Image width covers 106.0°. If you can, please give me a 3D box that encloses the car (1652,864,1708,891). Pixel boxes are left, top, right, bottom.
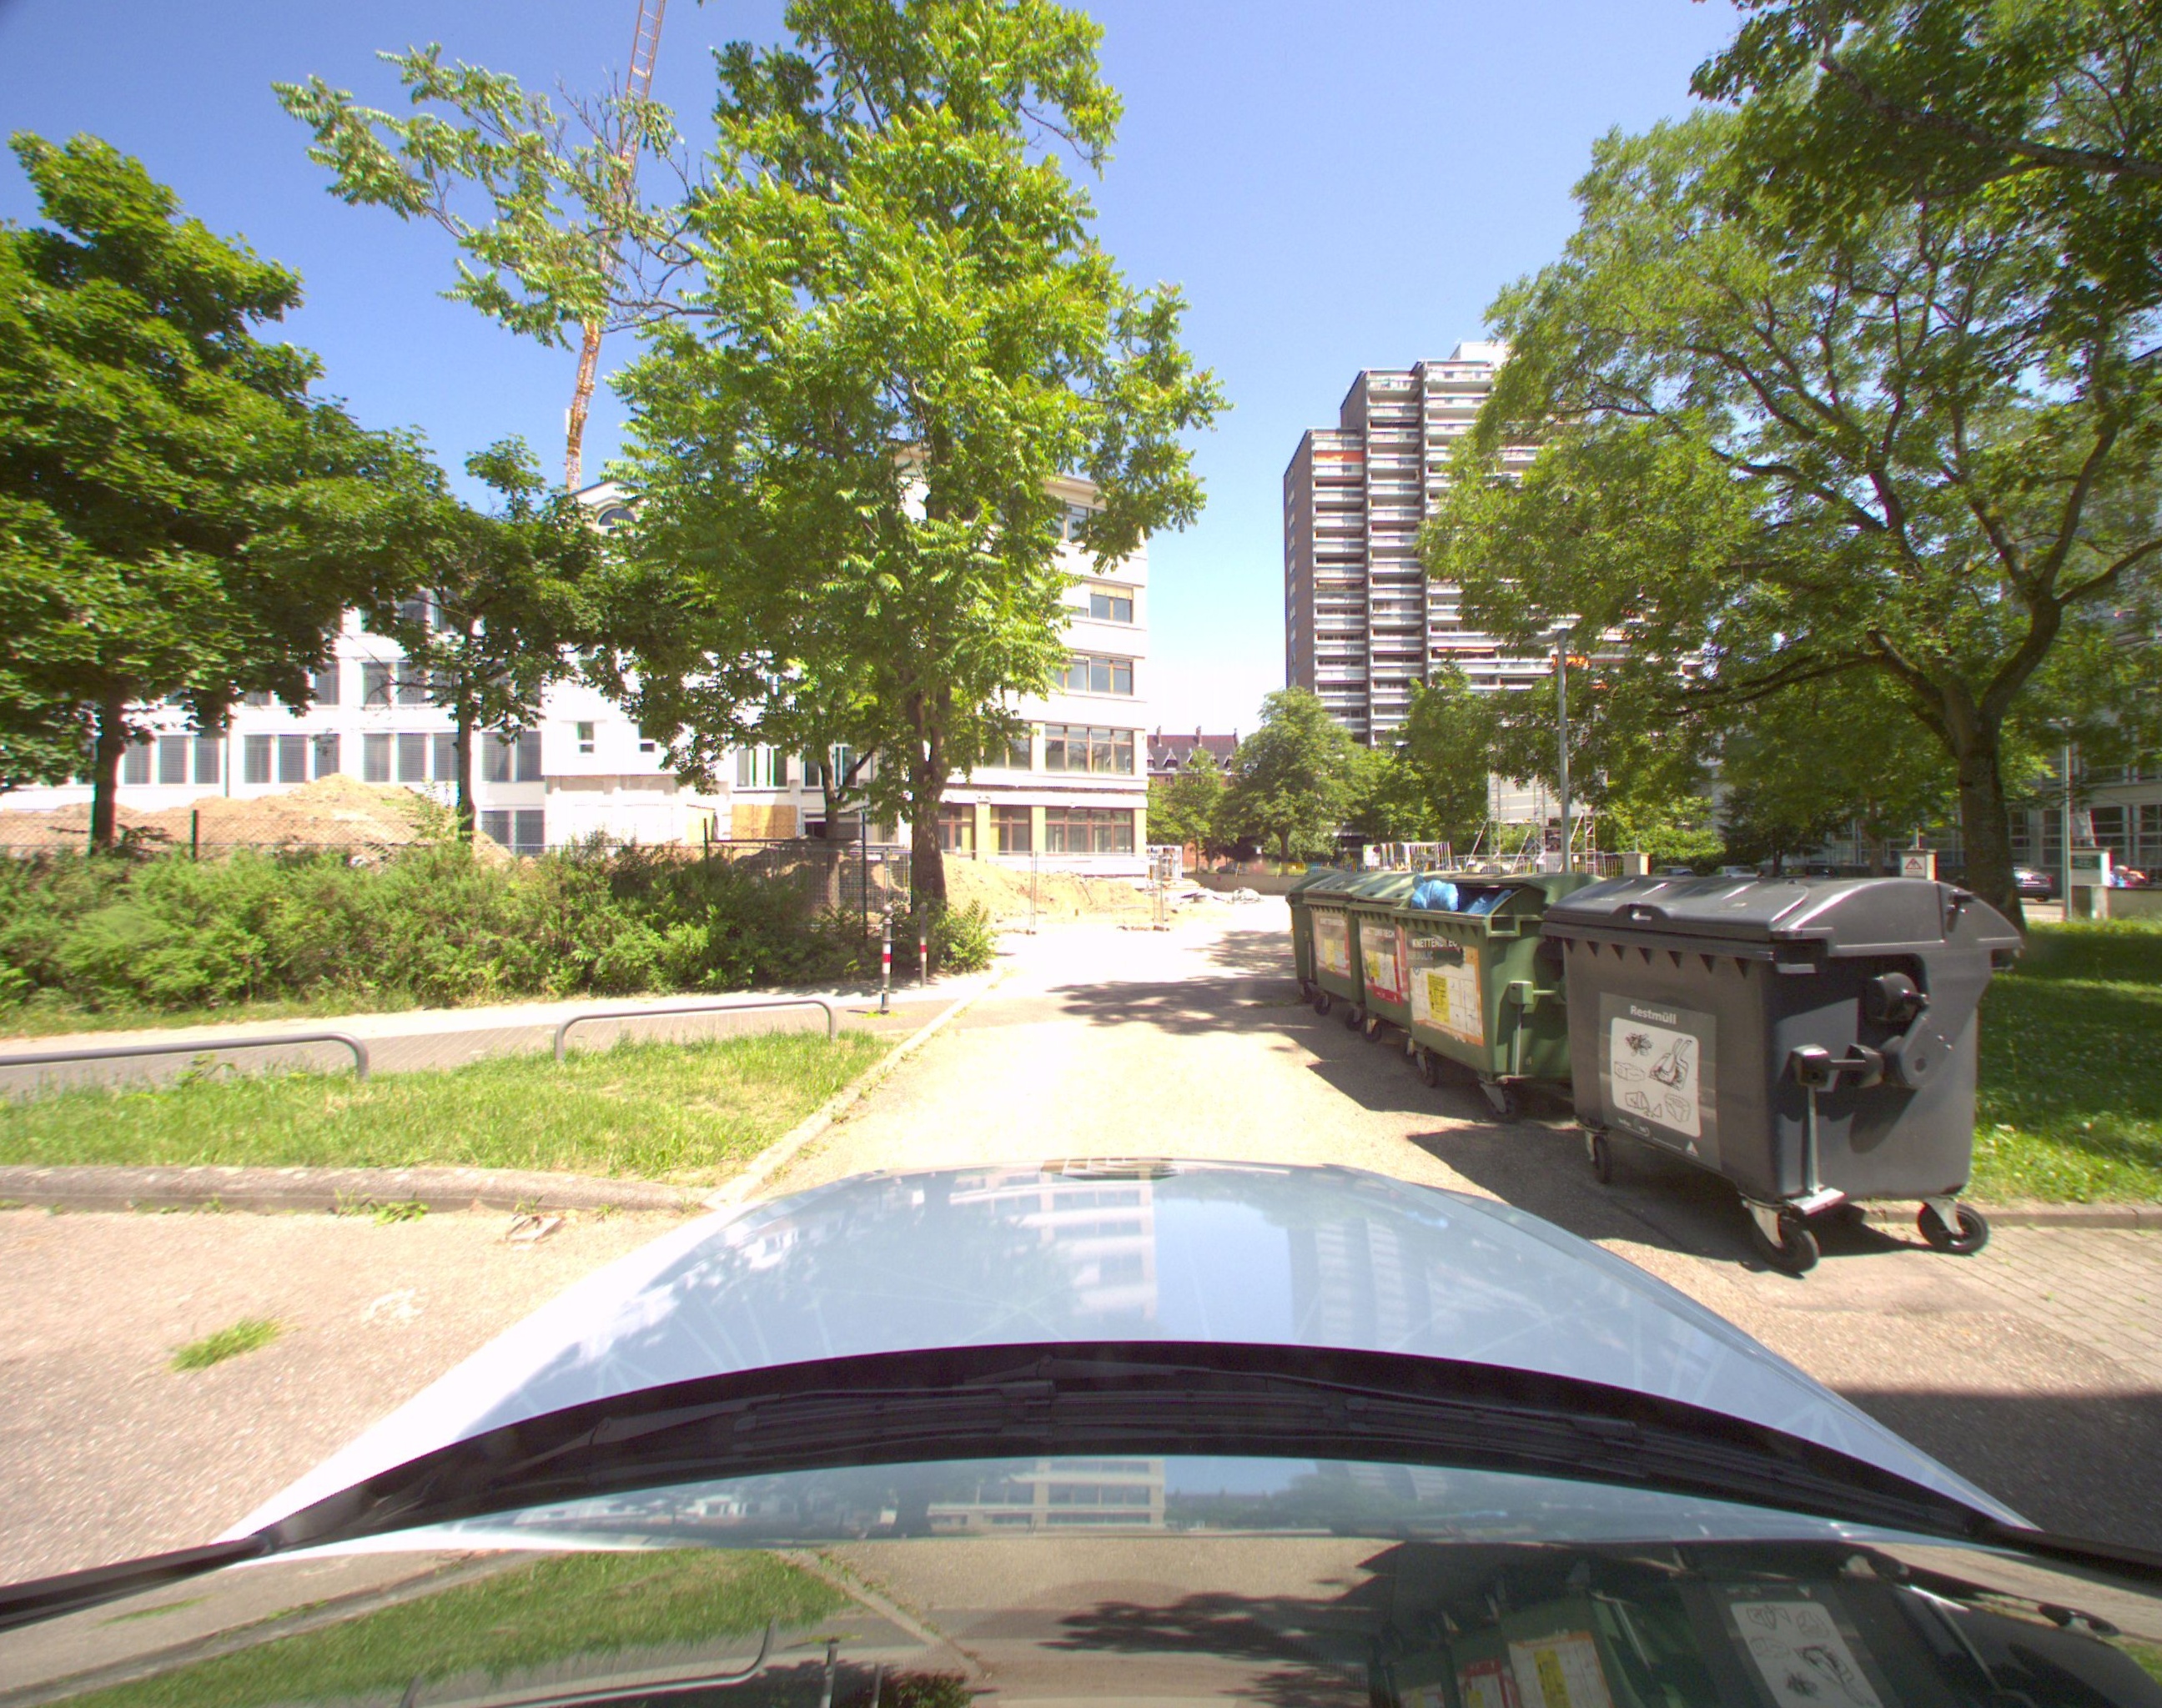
[{"bbox_3d":[33.792,1.347,46.052,1.619,1.464,3.696,-1,-2,21],"label":"car"}]

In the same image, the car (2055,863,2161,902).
[{"bbox_3d":[40.912,1.110,32.057,1.594,1.445,3.695,-1,-2,19],"label":"car"}]

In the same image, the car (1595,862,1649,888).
[{"bbox_3d":[31.973,1.264,48.212,1.620,1.464,3.693,-1,-2,17],"label":"car"}]

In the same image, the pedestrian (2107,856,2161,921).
[{"bbox_3d":[26.451,0.864,20.407,0.741,1.590,0.727,3,-3,-23],"label":"pedestrian"}]

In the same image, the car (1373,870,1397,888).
[{"bbox_3d":[24.219,2.003,64.883,1.619,1.387,3.697,-1,-2,22],"label":"car"}]

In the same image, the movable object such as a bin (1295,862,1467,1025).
[{"bbox_3d":[2.914,0.836,8.101,1.176,1.470,1.310,0,-2,-3],"label":"movable object such as a bin"}]

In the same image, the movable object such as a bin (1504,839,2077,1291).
[{"bbox_3d":[2.843,0.730,3.539,1.154,1.505,1.459,0,-2,-7],"label":"movable object such as a bin"}]

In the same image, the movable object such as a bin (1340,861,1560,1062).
[{"bbox_3d":[2.927,0.809,6.658,1.176,1.470,1.310,0,-2,-2],"label":"movable object such as a bin"}]

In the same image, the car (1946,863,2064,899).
[{"bbox_3d":[39.691,1.148,35.110,1.627,1.464,3.693,-1,-2,16],"label":"car"}]

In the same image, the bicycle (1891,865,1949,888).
[{"bbox_3d":[44.523,1.187,43.225,2.371,1.158,0.782,0,-2,-3],"label":"bicycle"}]

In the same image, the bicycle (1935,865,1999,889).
[{"bbox_3d":[44.637,1.162,41.043,2.418,1.188,0.782,0,-2,-3],"label":"bicycle"}]

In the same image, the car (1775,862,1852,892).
[{"bbox_3d":[36.727,1.163,40.949,1.619,1.464,3.696,-1,-2,21],"label":"car"}]

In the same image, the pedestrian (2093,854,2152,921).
[{"bbox_3d":[25.442,0.827,19.895,0.742,1.590,0.727,3,-3,-25],"label":"pedestrian"}]

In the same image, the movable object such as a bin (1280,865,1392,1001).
[{"bbox_3d":[2.961,0.882,9.639,1.170,1.470,1.337,0,-2,13],"label":"movable object such as a bin"}]

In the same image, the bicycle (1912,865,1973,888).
[{"bbox_3d":[44.578,1.181,42.157,2.371,1.158,0.782,0,-2,-3],"label":"bicycle"}]

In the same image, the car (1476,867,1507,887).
[{"bbox_3d":[28.638,1.607,56.865,1.619,1.387,3.697,-1,-2,22],"label":"car"}]

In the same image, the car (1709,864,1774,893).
[{"bbox_3d":[35.349,1.298,43.666,1.619,1.464,3.696,-1,-2,21],"label":"car"}]

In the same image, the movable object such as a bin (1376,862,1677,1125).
[{"bbox_3d":[2.768,0.805,5.276,1.176,1.470,1.309,0,-2,-4],"label":"movable object such as a bin"}]

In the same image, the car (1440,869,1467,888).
[{"bbox_3d":[27.414,1.813,60.011,1.619,1.387,3.697,-1,-2,22],"label":"car"}]
